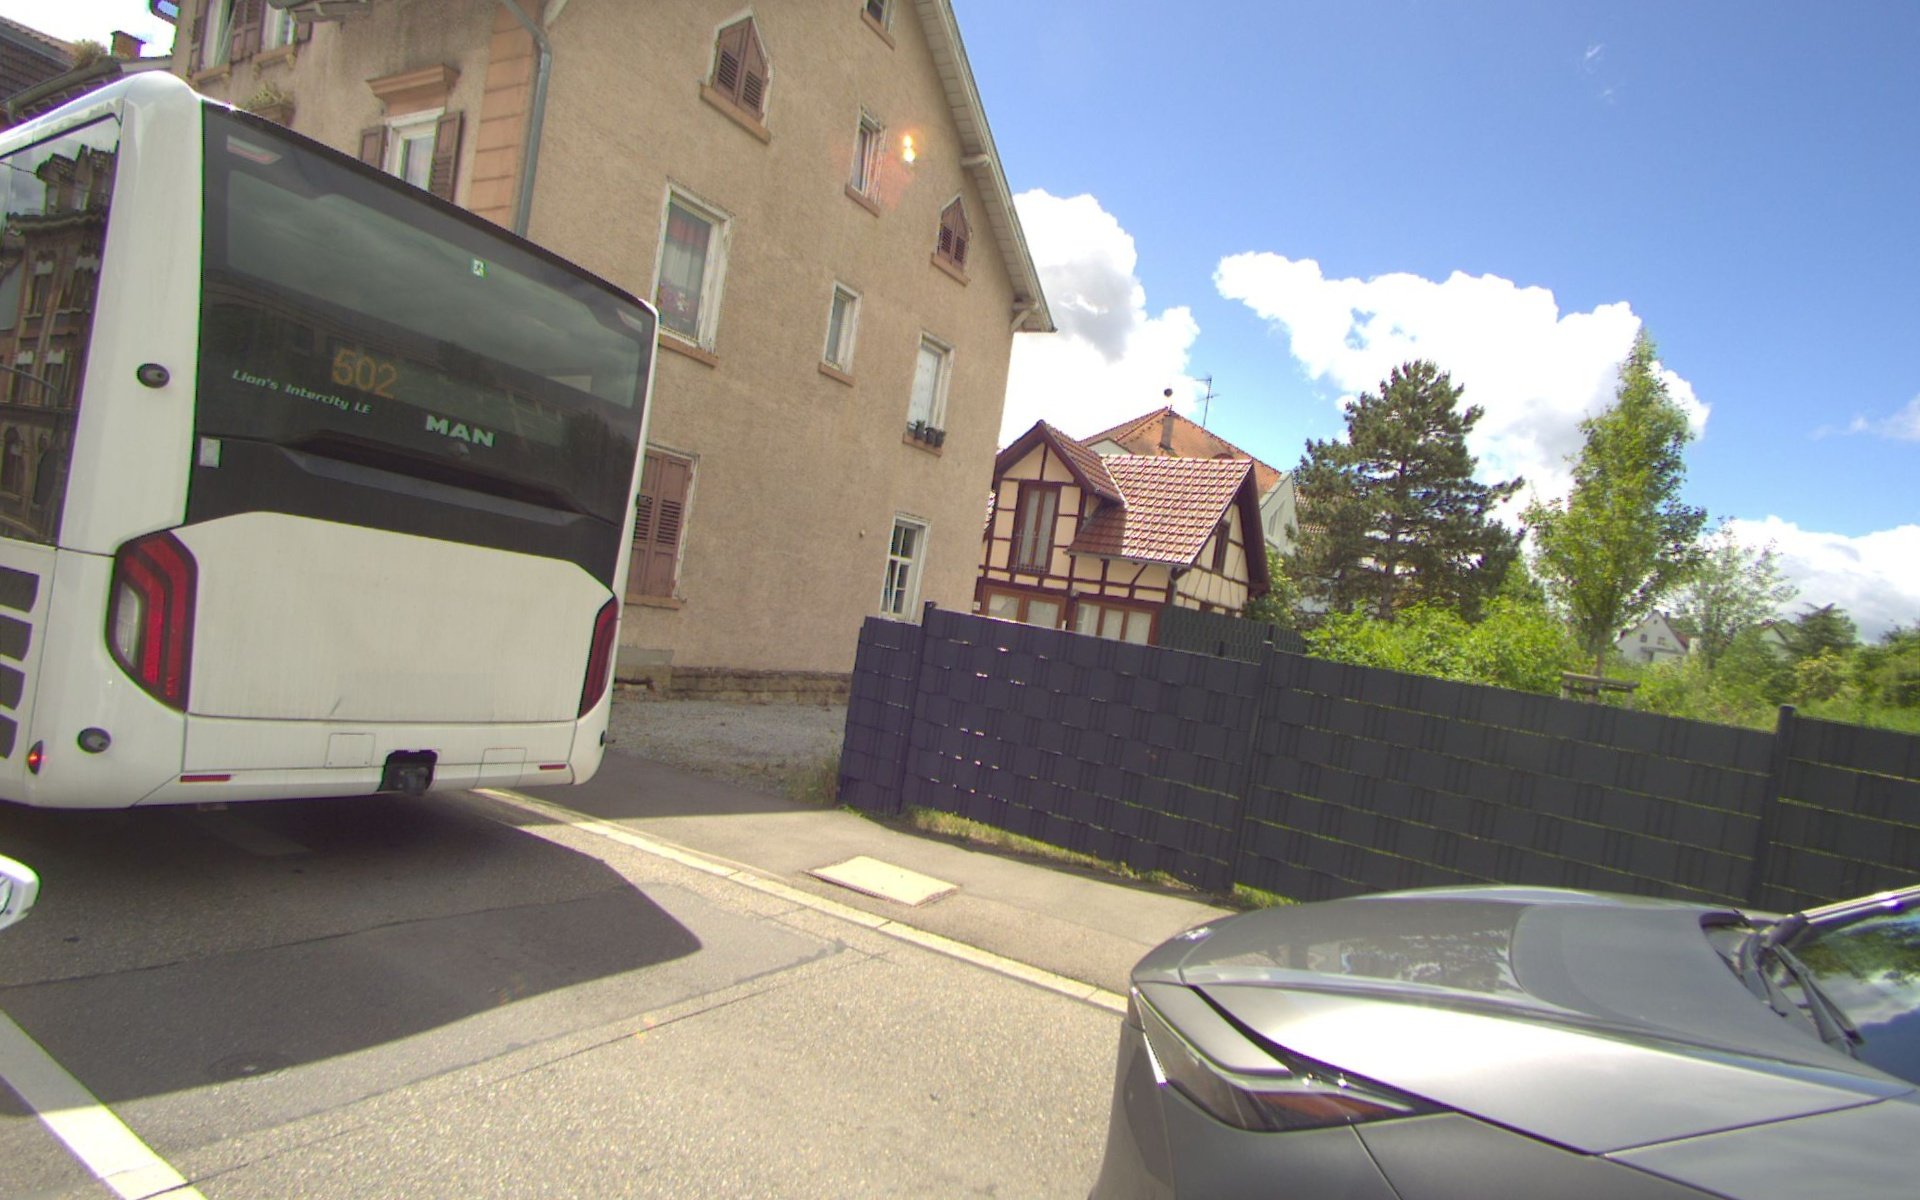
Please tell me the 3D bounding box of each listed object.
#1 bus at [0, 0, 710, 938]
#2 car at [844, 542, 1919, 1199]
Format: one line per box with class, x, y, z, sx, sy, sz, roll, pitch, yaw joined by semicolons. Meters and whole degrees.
bus;-7.425;-0.943;7.721;12.256;3.194;2.676;7;0;32
car;2.273;1.059;1.367;4.605;1.631;1.924;7;-2;32
